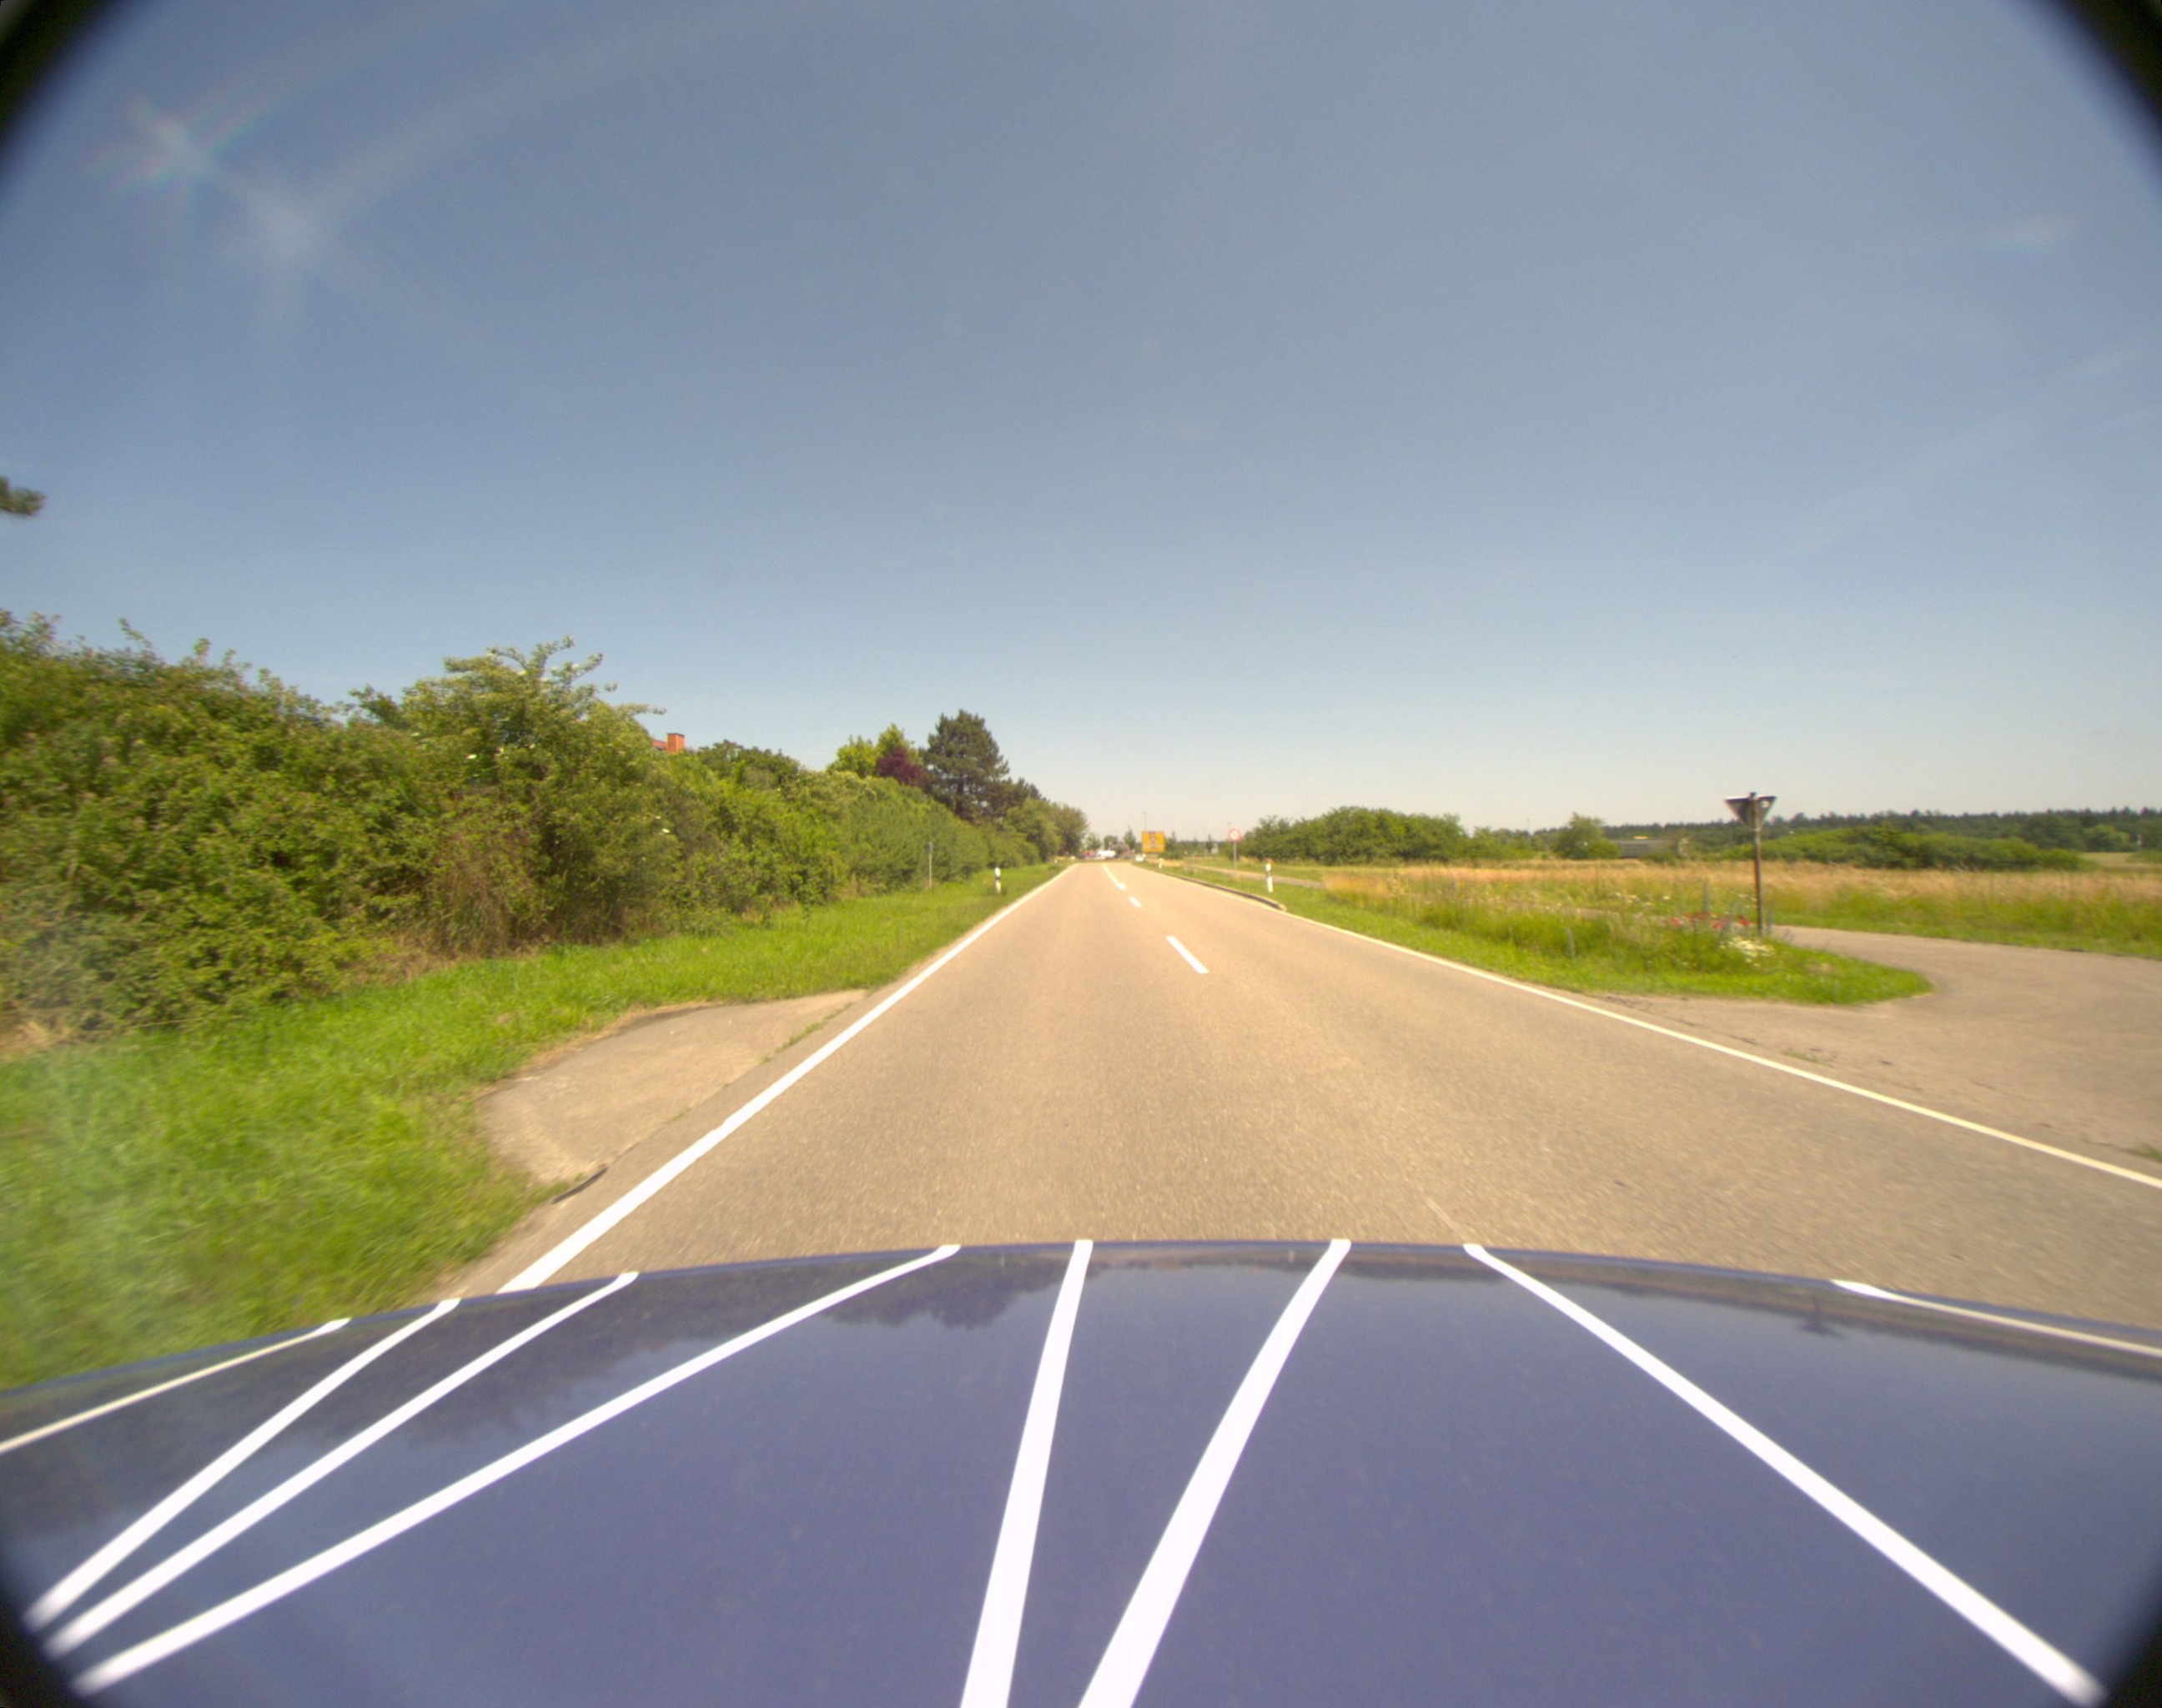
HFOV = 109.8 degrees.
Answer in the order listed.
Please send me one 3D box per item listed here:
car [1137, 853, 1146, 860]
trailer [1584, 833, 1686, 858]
[{"bbox_3d":[13.763,0.528,173.296,1.746,1.419,3.999,0,0,-1],"label":"car"},{"bbox_3d":[91.123,-1.339,125.532,2.647,3.911,13.848,0,0,-28],"label":"trailer"}]
